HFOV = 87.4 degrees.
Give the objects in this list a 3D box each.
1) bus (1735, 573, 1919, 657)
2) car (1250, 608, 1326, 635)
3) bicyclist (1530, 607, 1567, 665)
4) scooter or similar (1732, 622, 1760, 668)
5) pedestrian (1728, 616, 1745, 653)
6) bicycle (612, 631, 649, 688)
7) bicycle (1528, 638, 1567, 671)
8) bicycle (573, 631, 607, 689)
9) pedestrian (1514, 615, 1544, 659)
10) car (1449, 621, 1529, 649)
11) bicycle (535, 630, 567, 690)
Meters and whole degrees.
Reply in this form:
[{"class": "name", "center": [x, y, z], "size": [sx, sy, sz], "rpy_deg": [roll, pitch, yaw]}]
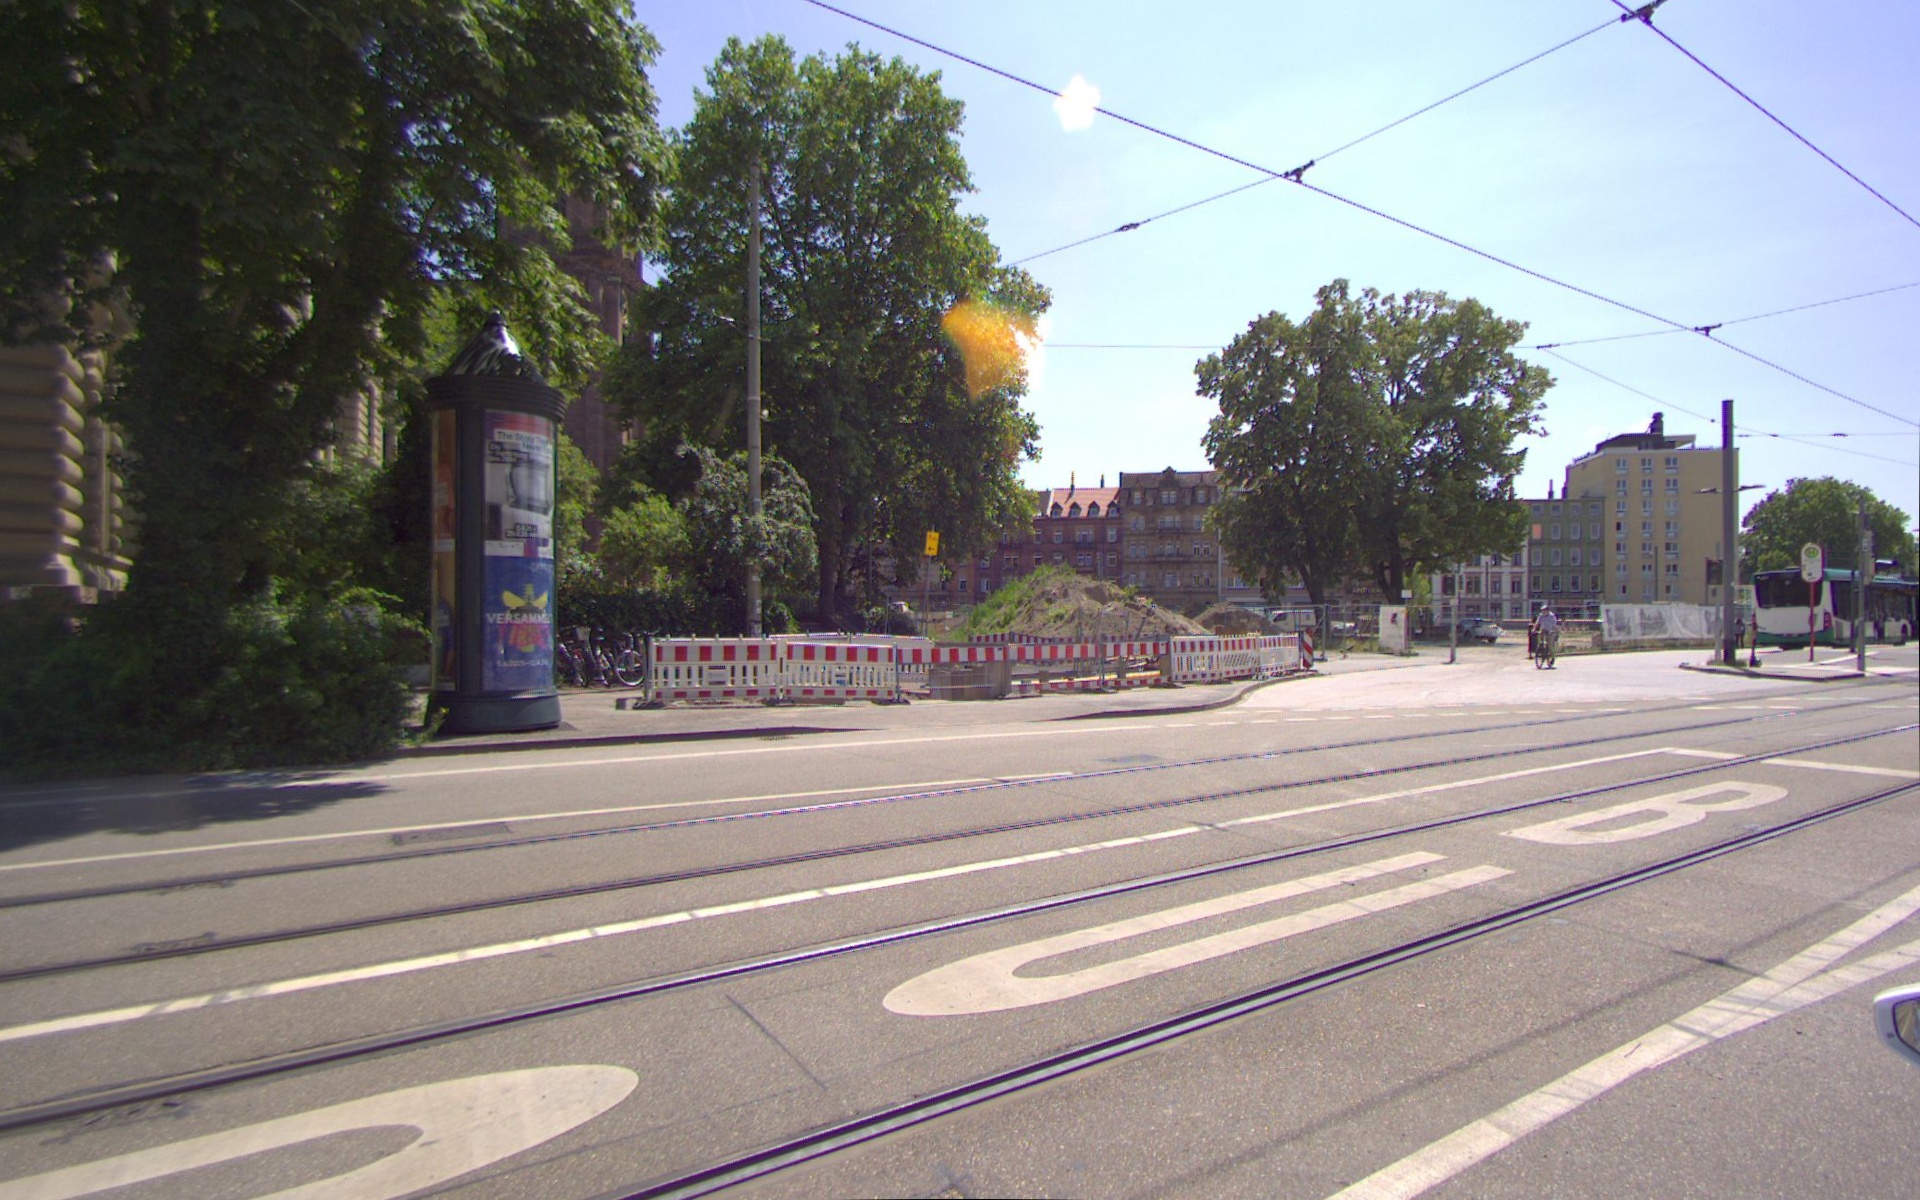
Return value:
[{"class": "bus", "center": [39.343, 0.690, 44.185], "size": [17.312, 3.200, 2.992], "rpy_deg": [1, -1, -34]}, {"class": "car", "center": [23.797, 1.576, 72.951], "size": [4.952, 1.909, 2.112], "rpy_deg": [0, -1, -14]}, {"class": "bicyclist", "center": [17.773, 1.070, 30.319], "size": [0.812, 1.732, 0.766], "rpy_deg": [-1, -1, 44]}, {"class": "scooter or similar", "center": [21.384, 1.224, 27.324], "size": [1.238, 1.222, 0.316], "rpy_deg": [1, -1, -39]}, {"class": "pedestrian", "center": [37.066, 1.650, 47.963], "size": [0.394, 1.728, 0.561], "rpy_deg": [0, -1, -41]}, {"class": "bicycle", "center": [-6.876, 1.206, 20.932], "size": [0.497, 1.117, 1.727], "rpy_deg": [0, -1, -26]}, {"class": "bicycle", "center": [17.720, 1.618, 30.249], "size": [0.498, 0.926, 2.356], "rpy_deg": [-1, -1, 43]}, {"class": "bicycle", "center": [-7.591, 1.198, 20.577], "size": [0.497, 1.117, 1.727], "rpy_deg": [0, -1, -26]}, {"class": "pedestrian", "center": [21.460, 1.381, 37.885], "size": [0.814, 1.623, 0.604], "rpy_deg": [0, -1, -24]}, {"class": "car", "center": [32.173, 2.106, 61.248], "size": [1.824, 1.671, 4.176], "rpy_deg": [0, -1, -21]}, {"class": "bicycle", "center": [-8.250, 1.181, 20.230], "size": [0.497, 1.117, 1.727], "rpy_deg": [0, -1, -26]}]
